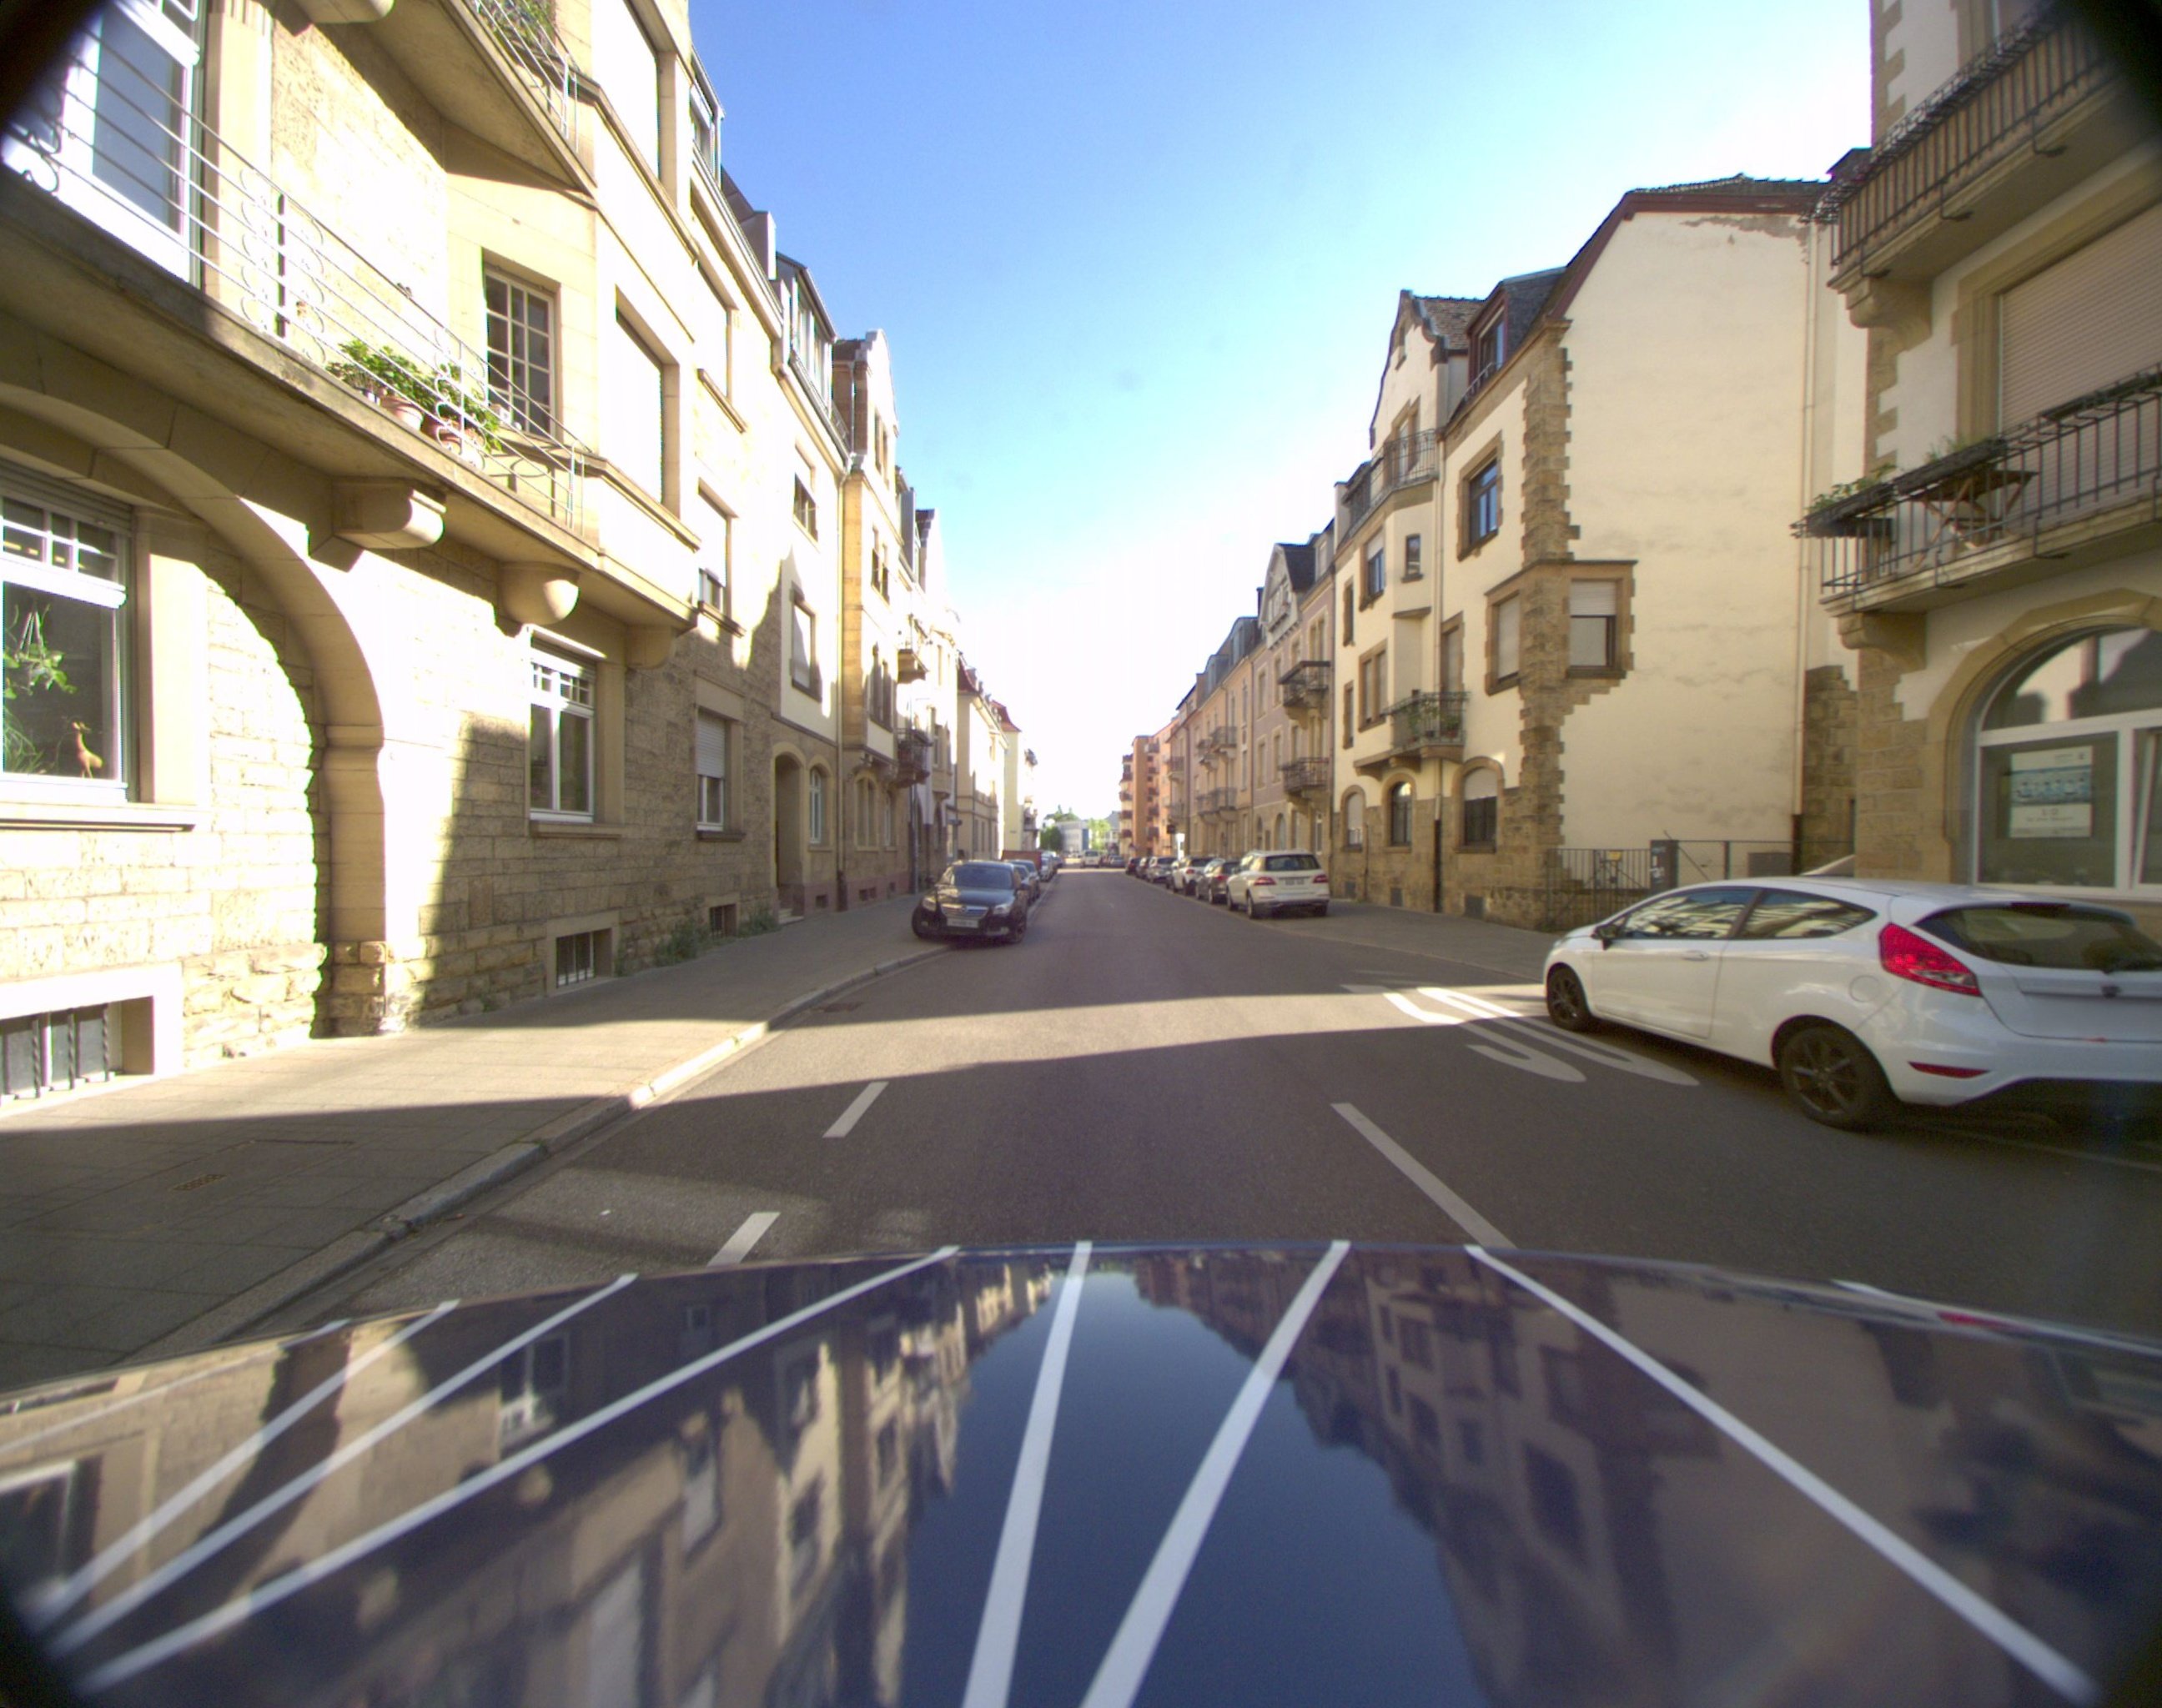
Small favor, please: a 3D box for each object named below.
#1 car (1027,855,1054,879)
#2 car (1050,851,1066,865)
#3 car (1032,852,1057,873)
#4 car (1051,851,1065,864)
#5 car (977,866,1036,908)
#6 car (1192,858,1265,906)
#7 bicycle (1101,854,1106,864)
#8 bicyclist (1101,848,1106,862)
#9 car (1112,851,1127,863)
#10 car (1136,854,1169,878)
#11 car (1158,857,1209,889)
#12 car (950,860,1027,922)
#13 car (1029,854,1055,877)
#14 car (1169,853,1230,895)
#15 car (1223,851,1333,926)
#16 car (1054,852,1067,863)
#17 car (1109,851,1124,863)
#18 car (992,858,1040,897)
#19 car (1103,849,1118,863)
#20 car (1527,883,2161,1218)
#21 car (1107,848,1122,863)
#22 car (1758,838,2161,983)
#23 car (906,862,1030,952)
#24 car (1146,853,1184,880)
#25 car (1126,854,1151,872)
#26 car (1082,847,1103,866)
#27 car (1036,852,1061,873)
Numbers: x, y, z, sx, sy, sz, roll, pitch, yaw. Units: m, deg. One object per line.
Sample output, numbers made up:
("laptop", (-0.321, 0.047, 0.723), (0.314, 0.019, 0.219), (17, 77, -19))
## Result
("car", (-2.499, 0.777, 47.374), (1.590, 1.456, 3.711), (0, 0, -2))
("car", (-2.664, 0.438, 87.632), (1.708, 1.417, 3.721), (1, 1, -1))
("car", (-2.796, 0.640, 58.829), (1.684, 1.537, 3.914), (1, 0, 1))
("car", (-2.810, 0.395, 93.095), (1.708, 1.417, 3.721), (1, 1, -1))
("car", (-2.447, 1.072, 25.820), (1.697, 1.247, 3.940), (-1, 0, -1))
("car", (5.021, 0.898, 26.441), (1.578, 1.479, 4.279), (-2, 0, -2))
("bicycle", (2.639, 0.591, 89.222), (0.541, 1.070, 1.800), (0, 0, 1))
("bicyclist", (2.636, 0.068, 89.107), (0.609, 1.656, 0.632), (0, 1, 0))
("car", (4.579, 0.343, 90.911), (1.678, 1.414, 3.500), (0, 0, 0))
("car", (4.864, 0.786, 52.139), (1.719, 1.512, 4.109), (1, 0, -1))
("car", (4.983, 0.911, 37.314), (1.677, 1.385, 3.664), (-3, 0, -5))
("car", (-2.393, 0.918, 20.602), (1.655, 1.434, 4.257), (1, 0, -1))
("car", (-2.700, 0.771, 52.760), (1.657, 1.456, 4.093), (0, 0, -1))
("car", (4.903, 0.796, 31.933), (1.719, 1.574, 4.019), (-3, 0, -2))
("car", (5.176, 0.833, 20.629), (1.896, 1.712, 4.727), (-3, 0, 3))
("car", (-2.708, 0.470, 99.445), (1.708, 1.417, 3.721), (0, 0, -2))
("car", (4.455, 0.349, 94.908), (1.678, 1.414, 3.285), (1, 0, 0))
("car", (-2.544, 0.907, 30.344), (1.791, 1.421, 3.806), (0, 0, -4))
("car", (4.155, 0.282, 107.237), (1.822, 1.867, 4.110), (0, 0, 0))
("car", (5.116, 1.021, 5.537), (1.637, 1.455, 3.735), (0, 1, 2))
("car", (4.481, 0.244, 101.774), (1.822, 1.866, 4.111), (2, 0, 0))
("car", (11.833, 0.679, 10.079), (3.978, 1.718, 1.909), (0, 0, 0))
("car", (-2.077, 0.936, 15.106), (1.870, 1.453, 4.338), (0, 0, -1))
("car", (4.975, 0.728, 45.447), (1.719, 1.529, 3.723), (-1, 0, -2))
("car", (4.688, 0.715, 62.426), (1.719, 1.378, 3.864), (-3, 0, 0))
("car", (1.165, 0.225, 80.147), (1.868, 1.925, 4.598), (0, 0, -3))
("car", (-2.681, 0.679, 63.263), (1.791, 1.655, 4.434), (0, 0, 1))
